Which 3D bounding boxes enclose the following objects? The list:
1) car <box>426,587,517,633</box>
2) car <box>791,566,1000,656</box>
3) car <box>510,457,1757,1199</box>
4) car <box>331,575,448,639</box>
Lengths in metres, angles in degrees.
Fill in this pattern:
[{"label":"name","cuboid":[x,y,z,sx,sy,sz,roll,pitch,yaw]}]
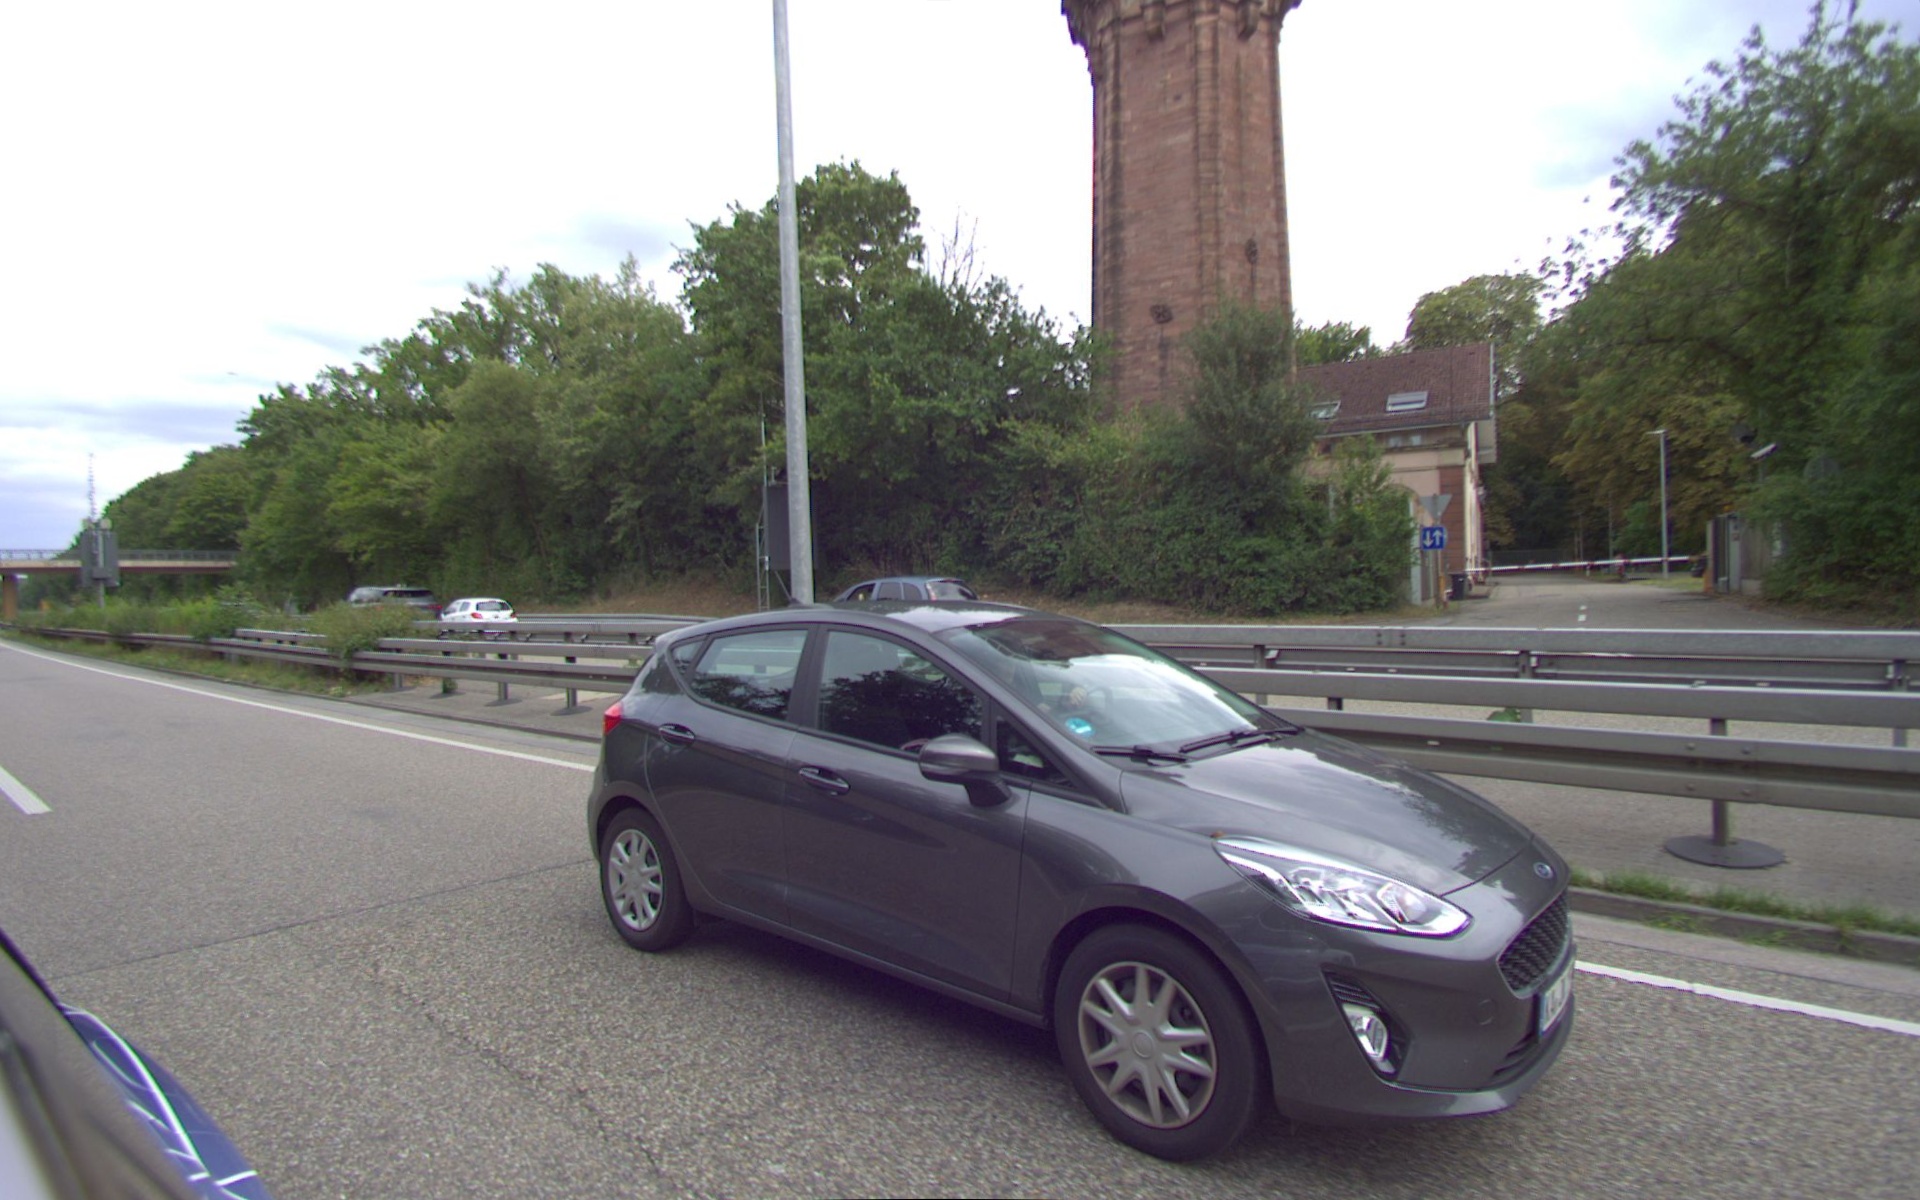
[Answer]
[{"label":"car","cuboid":[-17.155,0.331,35.484,3.727,1.519,1.611,0,0,42]},{"label":"car","cuboid":[-1.353,0.206,20.096,4.129,1.613,1.713,0,0,41]},{"label":"car","cuboid":[0.139,0.496,4.006,4.638,1.469,1.807,0,0,42]},{"label":"car","cuboid":[-17.183,0.203,30.386,4.541,1.782,1.742,0,0,42]}]
